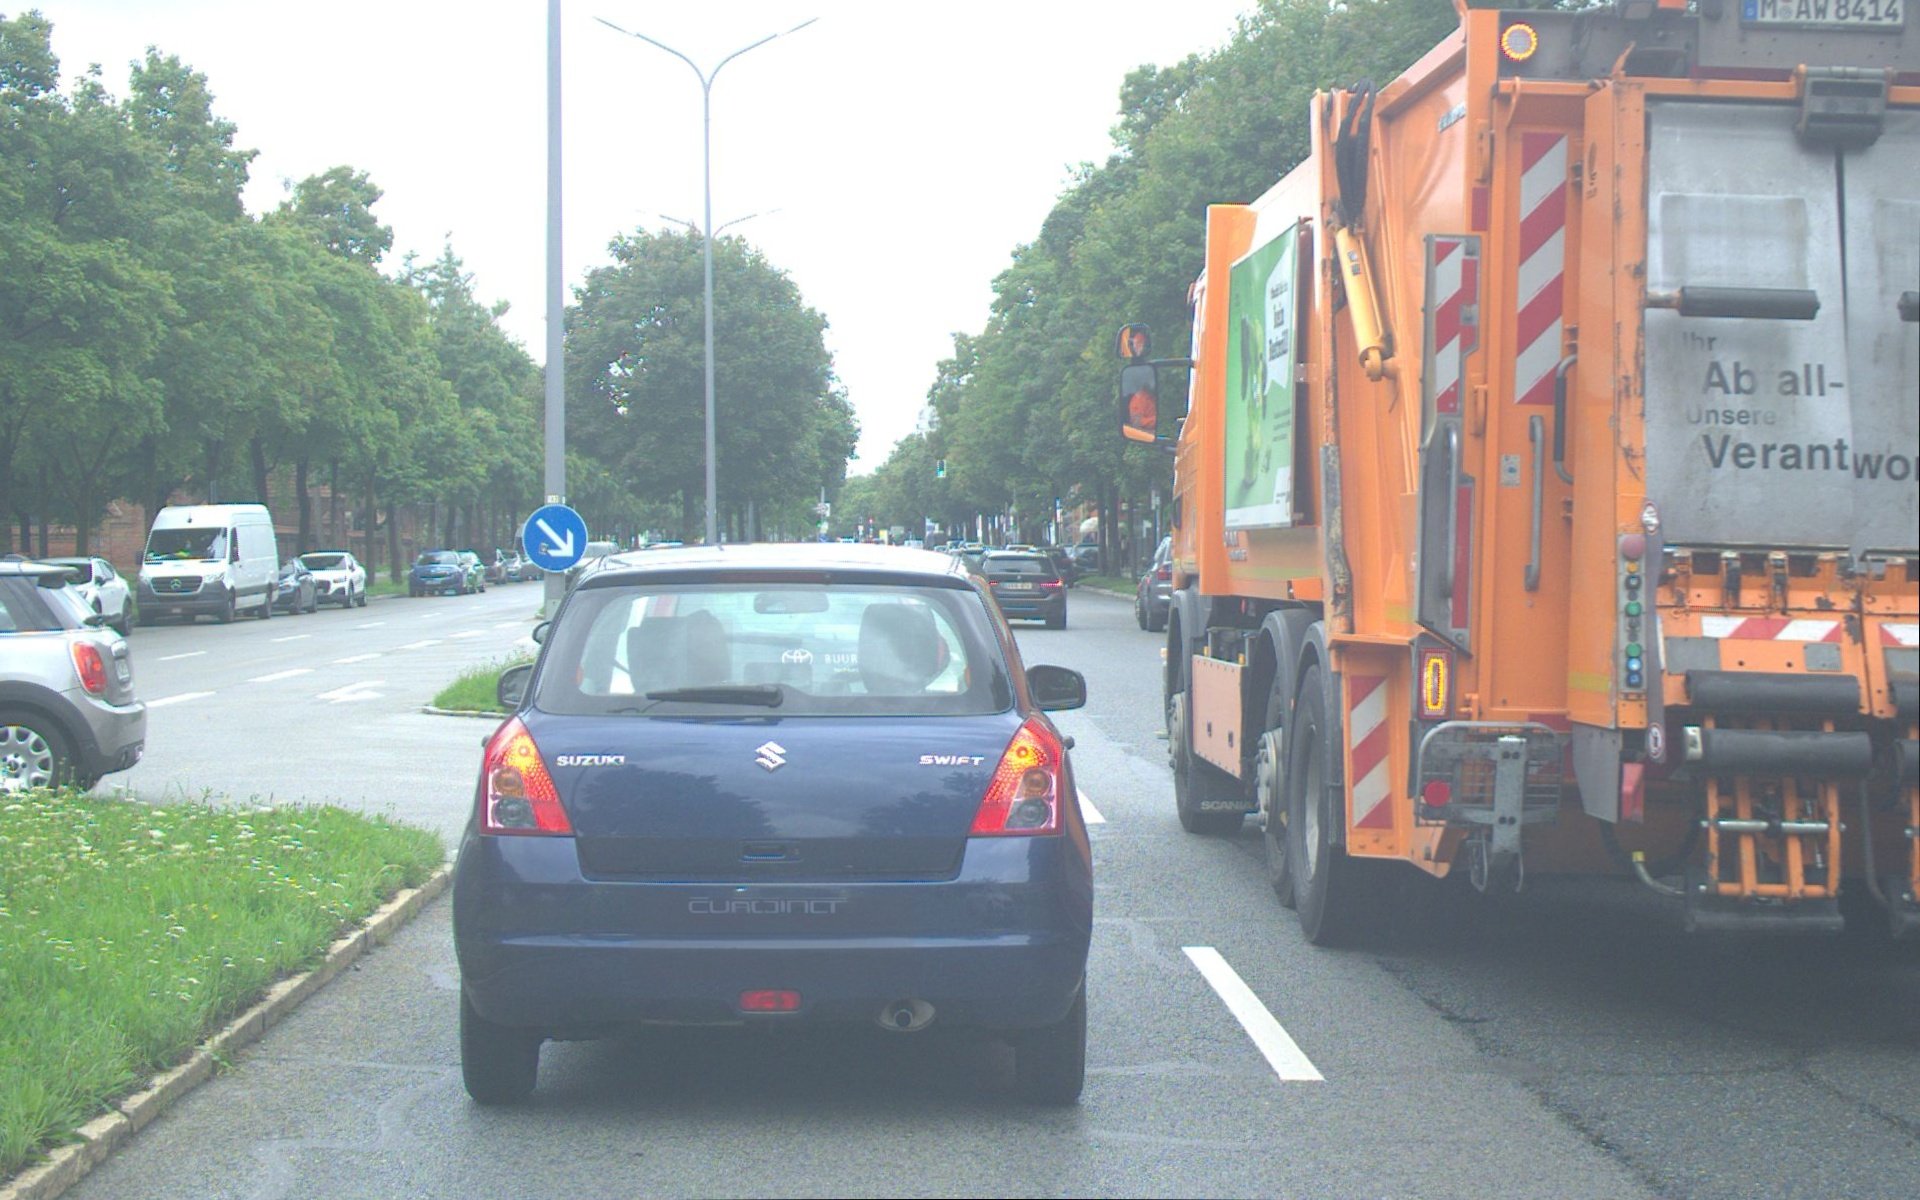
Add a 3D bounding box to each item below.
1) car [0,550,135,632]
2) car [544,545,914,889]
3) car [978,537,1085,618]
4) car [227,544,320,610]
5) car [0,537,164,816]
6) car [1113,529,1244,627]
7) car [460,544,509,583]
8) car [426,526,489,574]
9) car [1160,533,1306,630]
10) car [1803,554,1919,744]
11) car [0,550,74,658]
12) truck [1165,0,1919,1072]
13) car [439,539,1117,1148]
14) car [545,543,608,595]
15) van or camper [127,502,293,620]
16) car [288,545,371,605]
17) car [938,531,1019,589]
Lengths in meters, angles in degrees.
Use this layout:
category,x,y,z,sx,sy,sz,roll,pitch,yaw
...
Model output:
category,x,y,z,sx,sy,sz,roll,pitch,yaw
car,-16.215,-0.181,62.482,1.632,1.426,3.879,1,1,-2
car,-1.193,0.485,16.621,1.443,1.478,3.107,0,1,-10
car,1.293,-0.439,63.782,1.758,1.408,4.463,1,1,-1
car,-16.860,-0.573,84.535,1.632,1.577,3.879,1,1,-2
car,-6.362,0.387,18.801,3.721,1.458,1.688,0,1,-5
car,3.899,-0.433,61.916,1.865,1.677,4.225,-1,1,-3
car,-20.089,-1.553,145.269,1.632,1.577,3.879,1,1,-2
car,-16.822,-1.668,115.203,1.632,1.577,3.879,1,1,-2
car,4.491,-0.334,57.103,1.865,1.512,4.225,-1,1,-3
car,8.468,0.360,26.335,3.554,1.412,1.869,0,1,28
car,-15.992,0.036,57.152,1.632,1.735,3.879,1,1,-2
truck,2.714,-0.328,14.362,3.039,3.178,9.134,1,1,-1
car,-0.533,0.572,10.521,1.682,1.496,3.919,0,1,-2
car,-11.841,-0.972,106.186,1.632,1.547,3.879,1,1,-2
van or camper,-16.630,-0.883,76.653,2.117,2.473,7.449,1,1,0
car,-16.894,-0.683,92.183,1.632,1.577,3.879,1,1,-2
car,0.453,-1.053,89.276,1.731,1.427,4.443,1,1,-4
